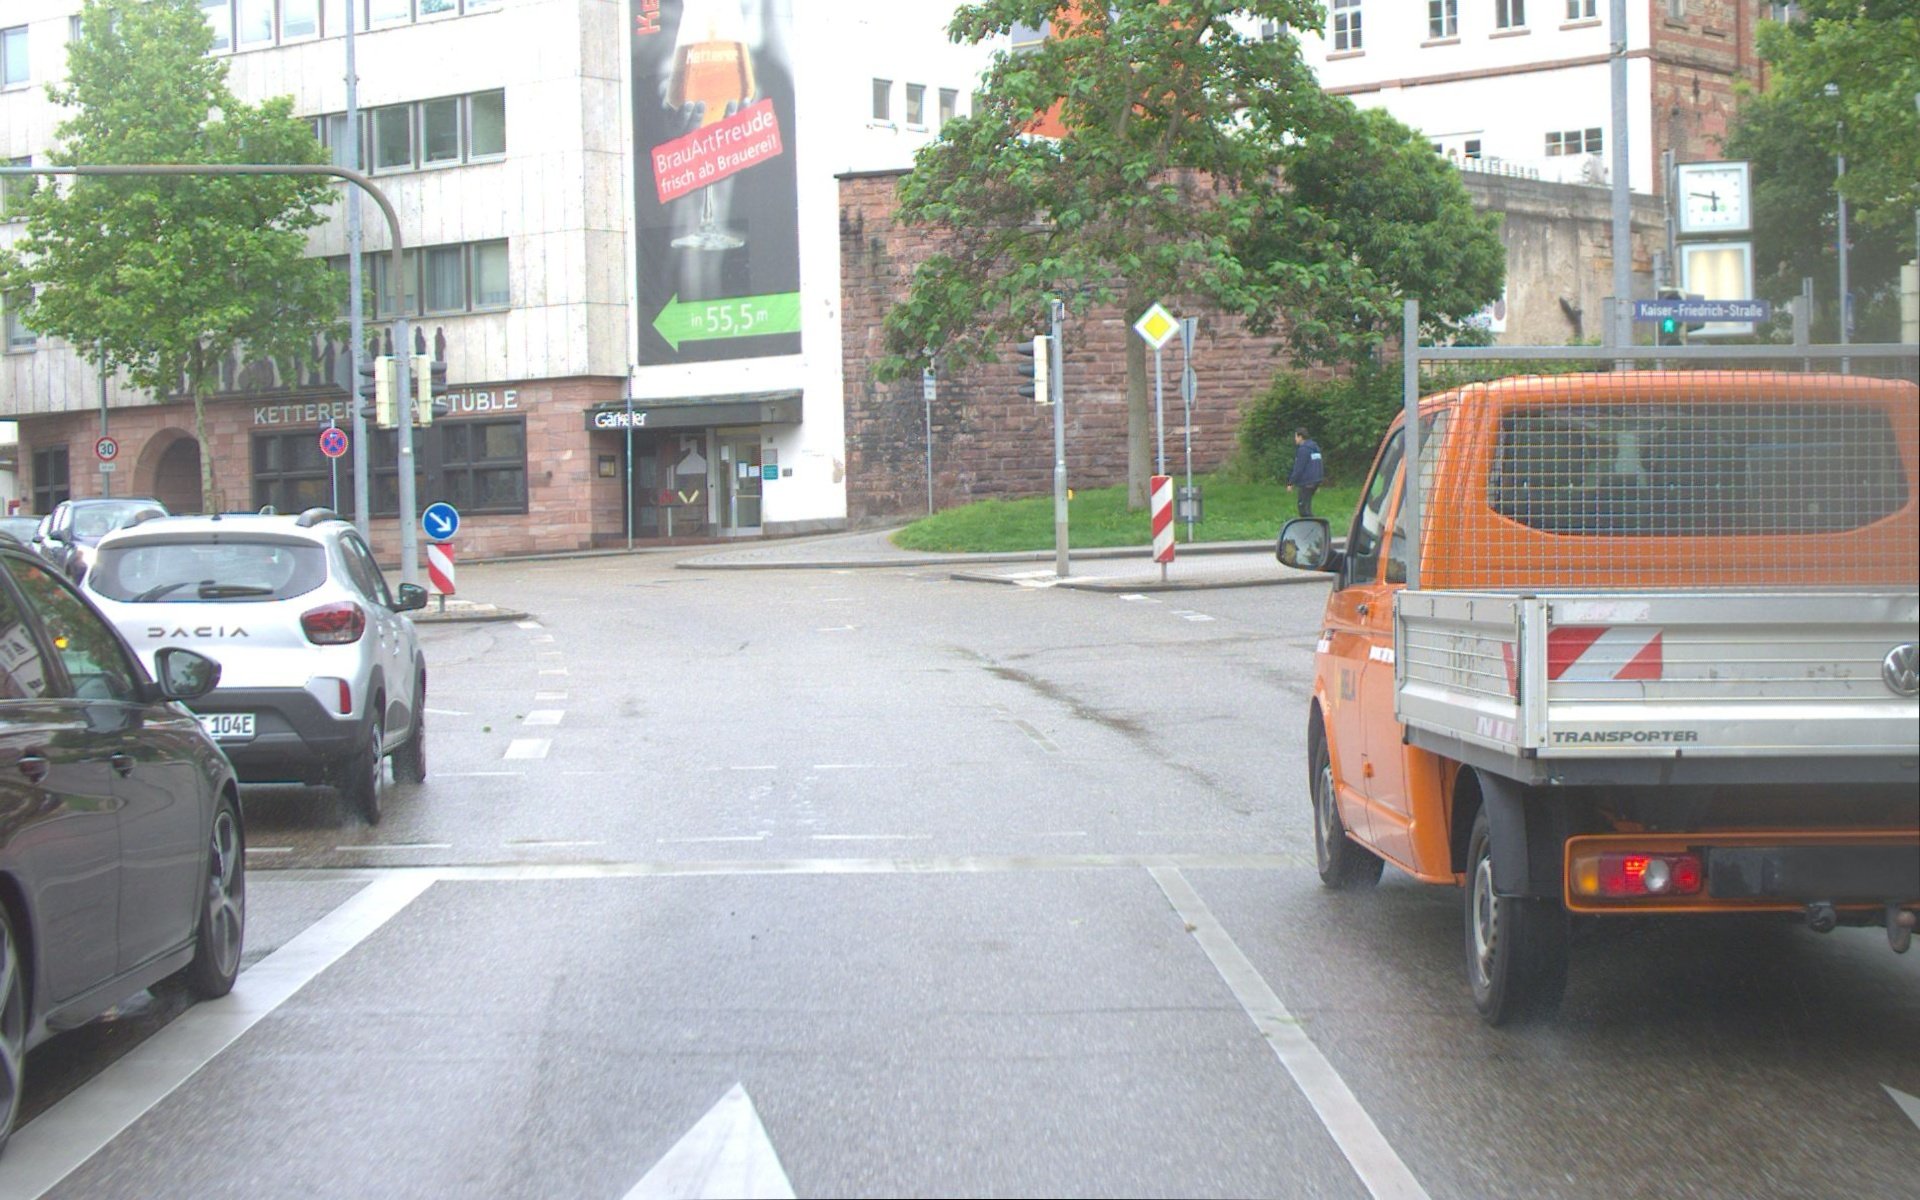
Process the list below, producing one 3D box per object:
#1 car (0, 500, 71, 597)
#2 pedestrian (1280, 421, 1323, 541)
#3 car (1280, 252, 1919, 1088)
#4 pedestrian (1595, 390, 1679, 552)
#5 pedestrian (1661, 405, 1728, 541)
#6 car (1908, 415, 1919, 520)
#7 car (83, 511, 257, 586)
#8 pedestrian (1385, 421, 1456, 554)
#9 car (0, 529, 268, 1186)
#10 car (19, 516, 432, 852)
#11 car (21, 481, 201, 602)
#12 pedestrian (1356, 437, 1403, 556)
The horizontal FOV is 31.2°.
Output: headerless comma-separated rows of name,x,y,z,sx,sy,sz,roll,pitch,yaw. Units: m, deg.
car,-16.918,-0.914,60.442,1.755,1.609,4.212,-3,2,-24
pedestrian,5.117,-1.778,51.506,0.597,1.775,0.656,0,0,9
car,2.351,0.136,11.359,2.102,2.082,5.541,0,1,0
pedestrian,8.630,-1.644,43.807,0.786,2.006,0.587,-1,3,35
pedestrian,9.404,-1.618,44.000,0.556,1.700,0.529,-5,3,-28
car,14.734,-1.864,45.604,4.086,1.369,1.794,-2,2,17
car,-15.900,-1.020,69.026,1.790,1.398,4.633,-3,2,-34
pedestrian,6.367,-1.550,47.543,0.879,1.825,0.729,0,1,1
car,-3.029,0.551,8.645,1.799,1.429,4.397,0,1,-2
car,-3.597,0.334,17.372,1.536,1.456,3.630,-1,2,-4
car,-12.371,-0.865,49.940,1.755,1.609,4.212,-3,2,-24
pedestrian,5.795,-1.425,47.516,0.566,1.610,0.691,0,0,2
